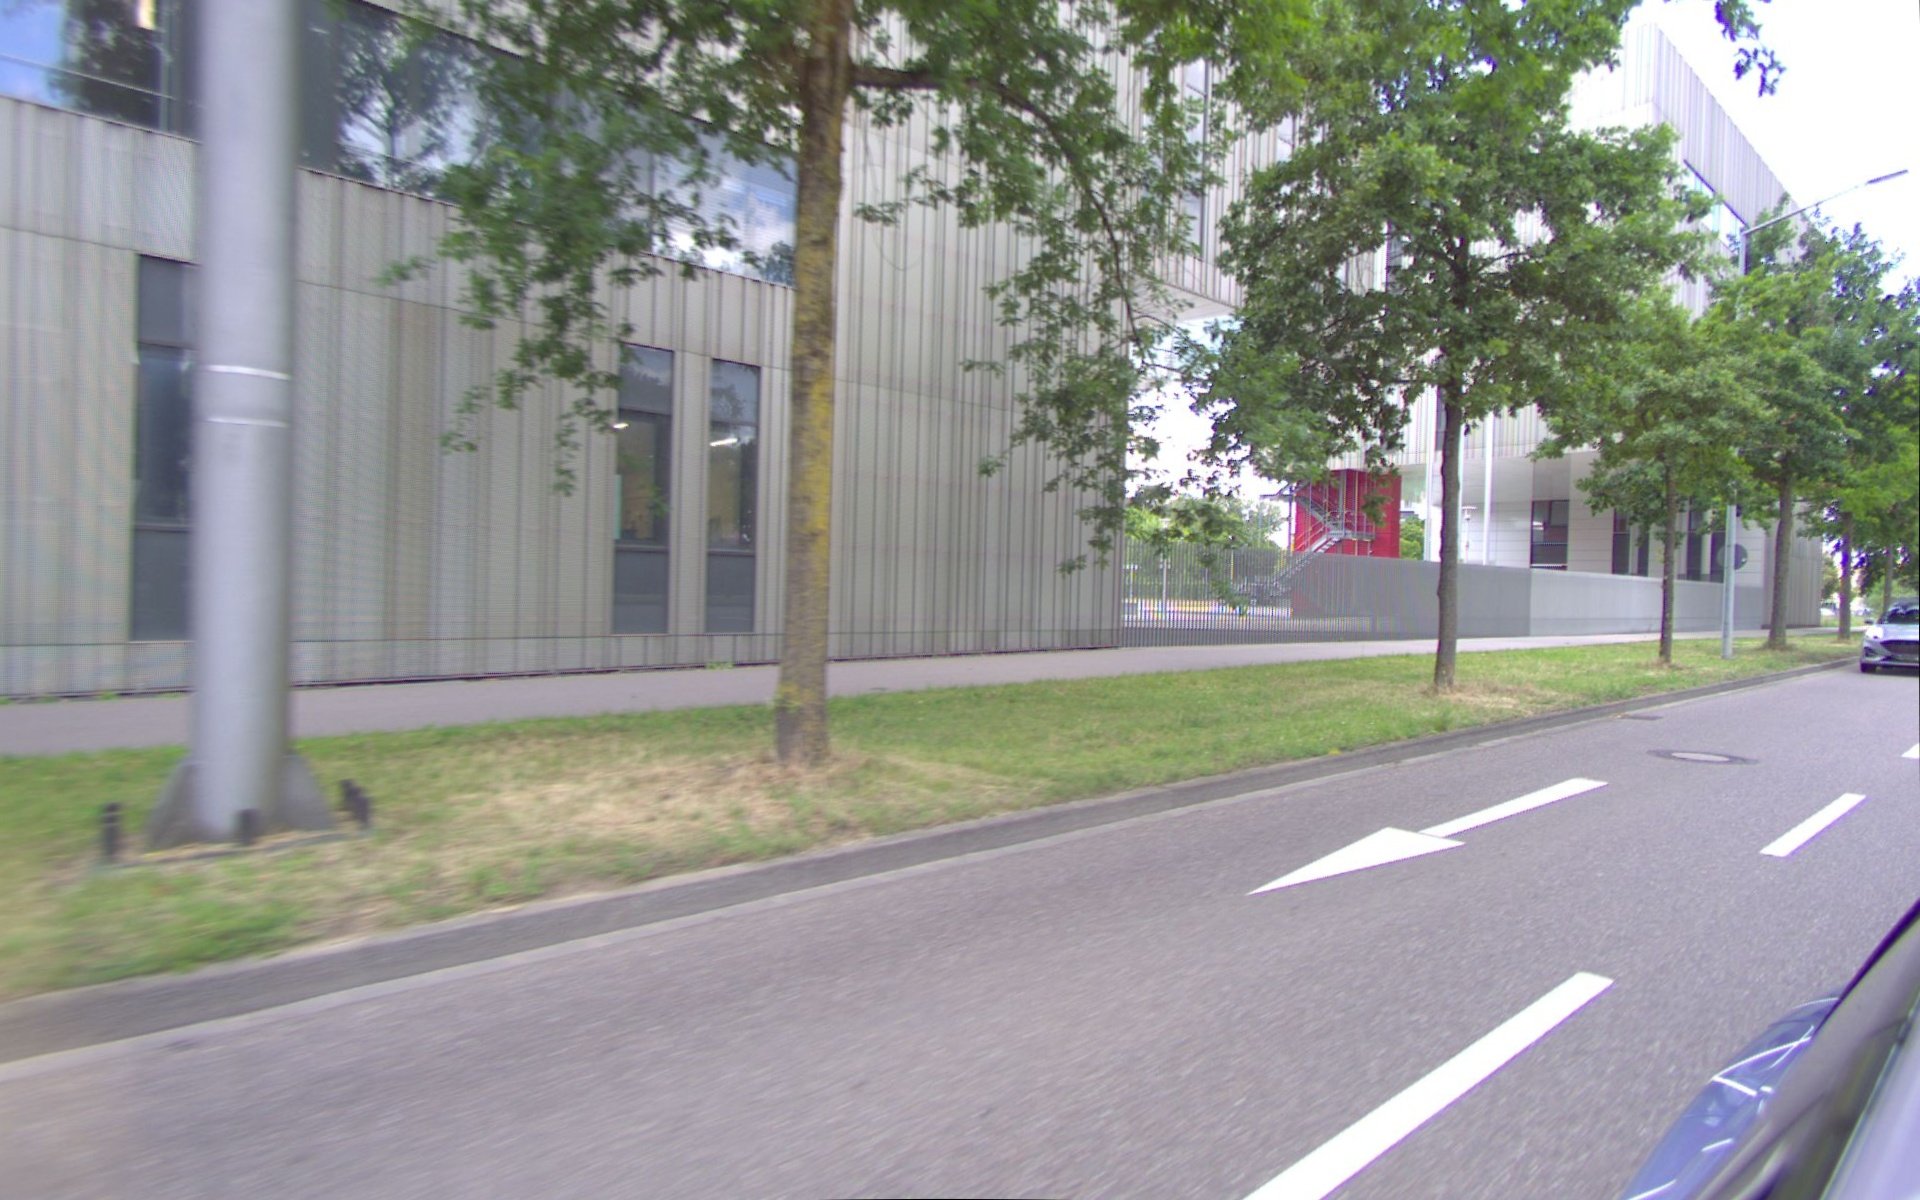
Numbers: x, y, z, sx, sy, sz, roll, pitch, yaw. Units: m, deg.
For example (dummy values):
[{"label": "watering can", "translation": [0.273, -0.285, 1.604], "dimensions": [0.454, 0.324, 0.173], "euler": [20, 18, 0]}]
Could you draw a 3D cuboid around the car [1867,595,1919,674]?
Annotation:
[{"label": "car", "translation": [20.834, 0.693, 21.512], "dimensions": [3.884, 1.594, 1.822], "euler": [0, 0, -40]}]
